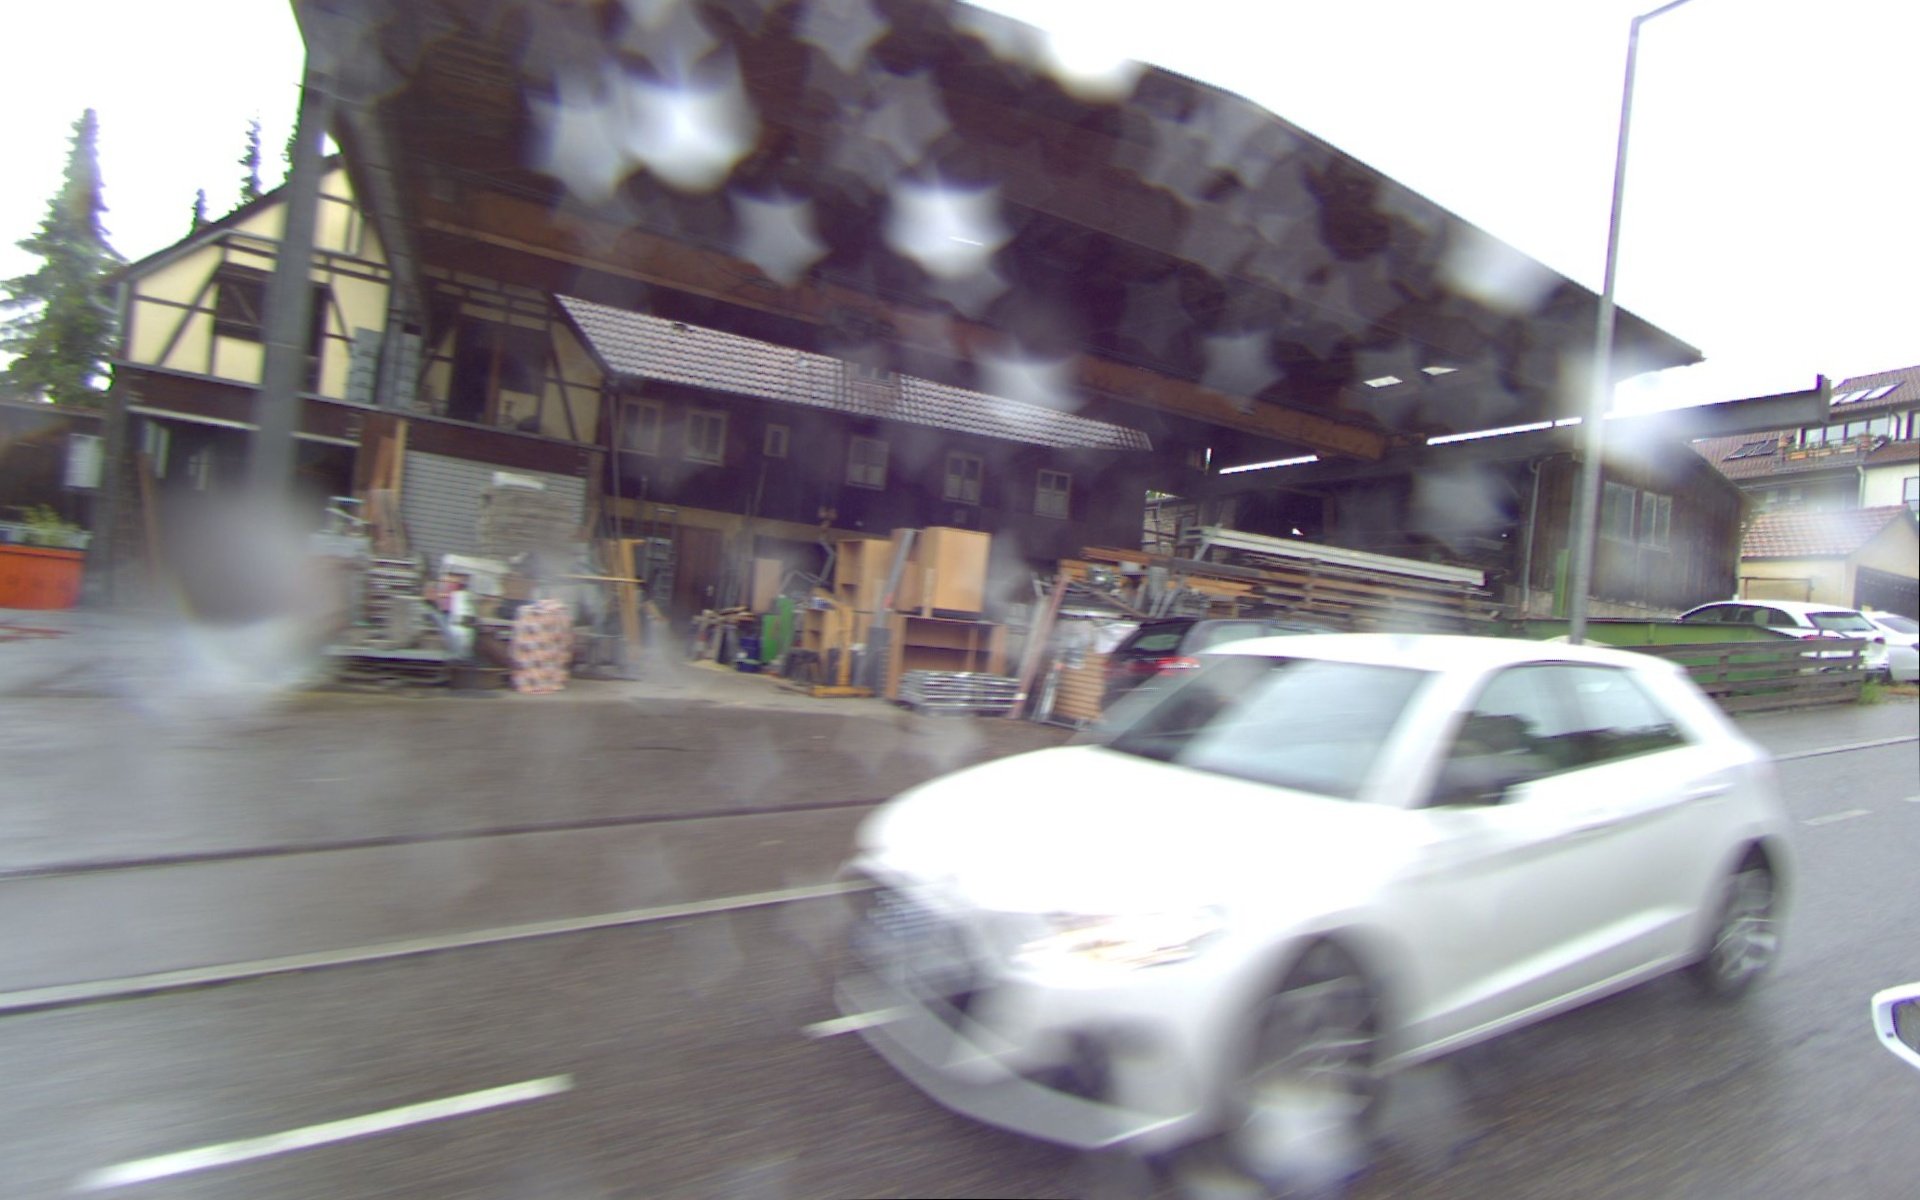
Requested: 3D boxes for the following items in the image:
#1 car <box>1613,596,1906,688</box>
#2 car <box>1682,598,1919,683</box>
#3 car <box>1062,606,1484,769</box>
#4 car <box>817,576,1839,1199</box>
[{"bbox_3d":[14.965,0.727,19.088,1.870,1.525,3.985,1,0,-17],"label":"car"},{"bbox_3d":[17.832,0.754,20.755,1.870,1.525,4.494,1,0,-17],"label":"car"},{"bbox_3d":[3.457,0.847,10.932,4.391,1.460,1.887,1,-1,-28],"label":"car"},{"bbox_3d":[1.622,0.732,4.002,4.004,1.406,1.694,2,-2,-31],"label":"car"}]
